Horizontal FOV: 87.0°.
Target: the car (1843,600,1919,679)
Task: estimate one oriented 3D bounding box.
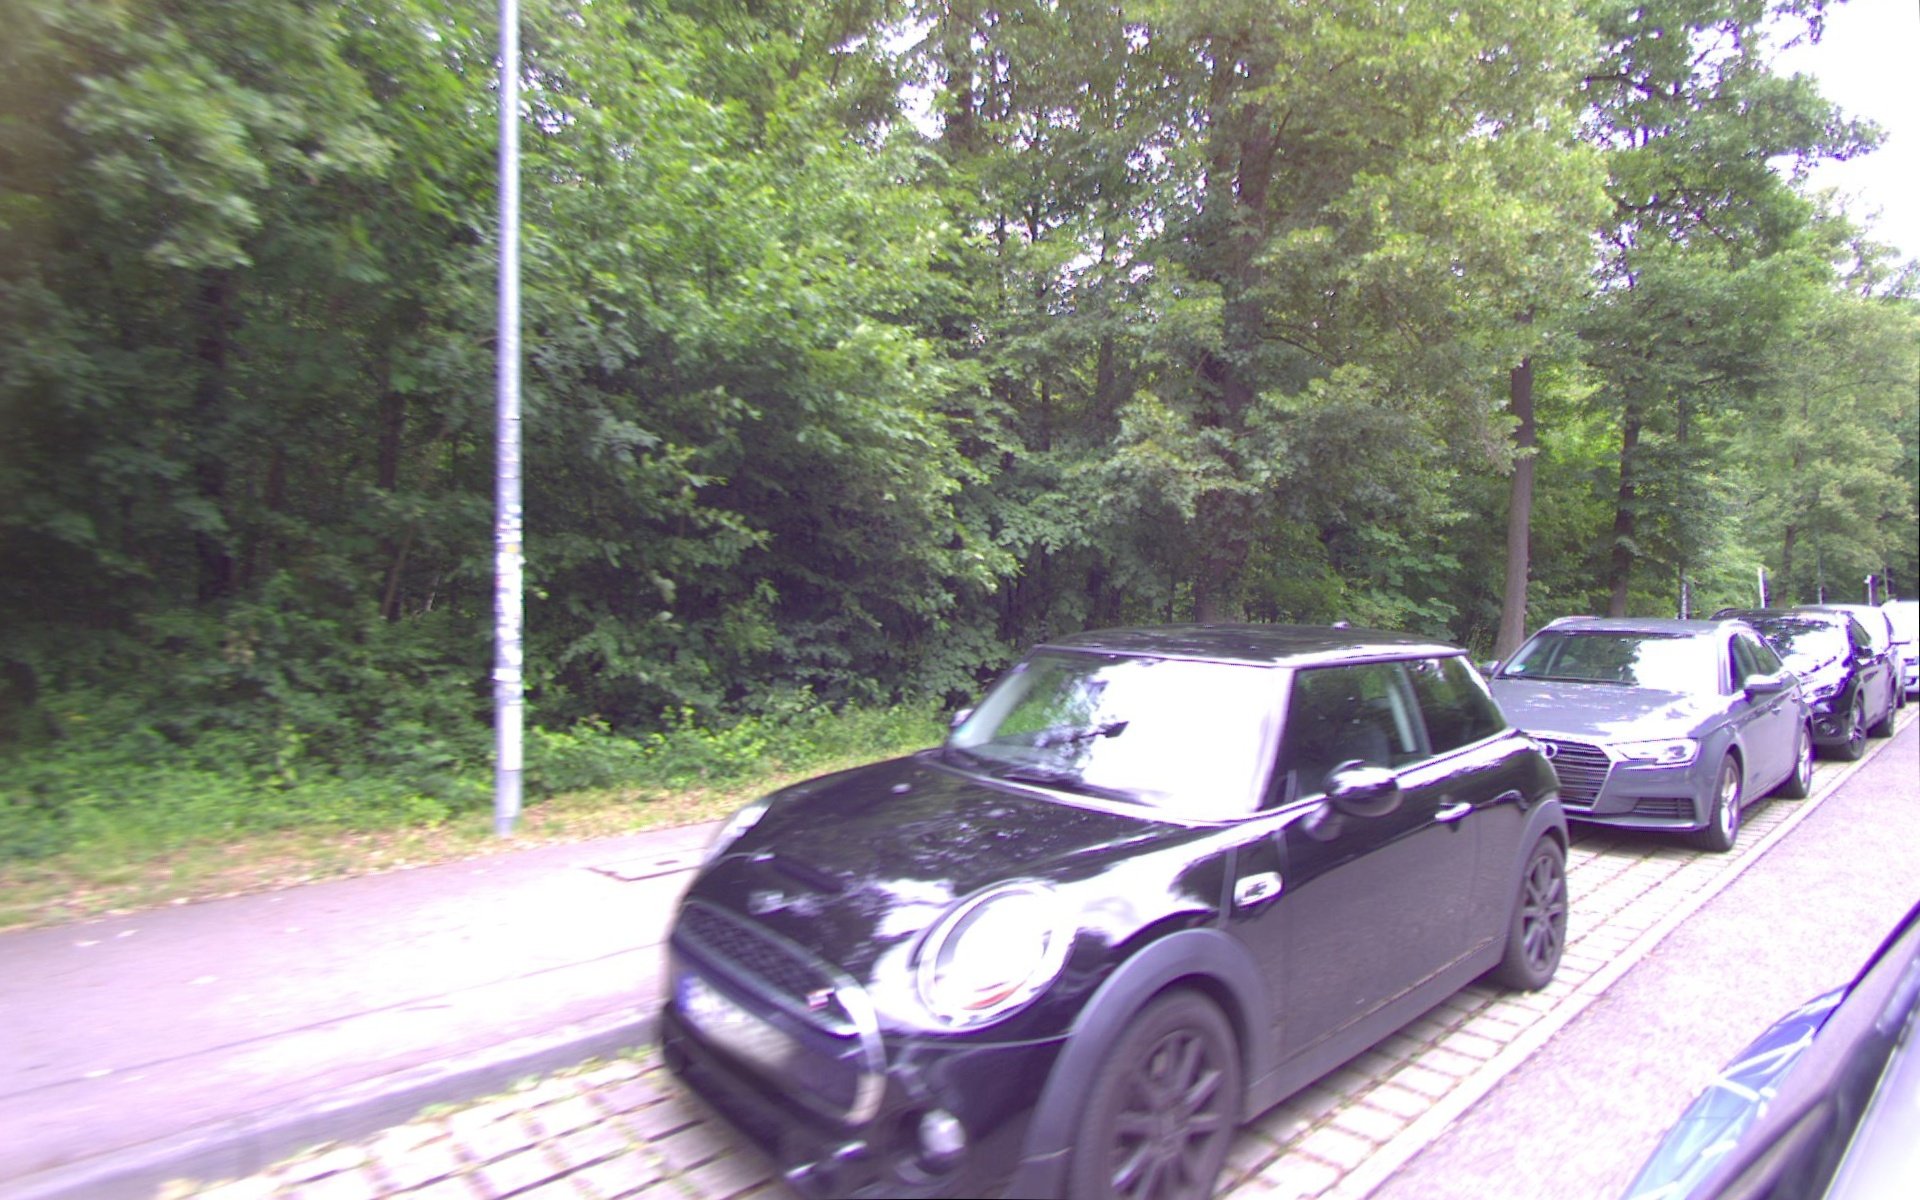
[{"bbox_3d":[19.641,0.747,20.902,4.528,1.493,1.737,0,0,-44],"label":"car"}]

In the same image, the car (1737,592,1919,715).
[{"bbox_3d":[13.007,0.689,15.040,3.941,1.588,1.737,0,0,-44],"label":"car"}]

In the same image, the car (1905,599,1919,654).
[{"bbox_3d":[28.535,0.734,29.105,4.690,1.498,1.737,0,0,-44],"label":"car"}]

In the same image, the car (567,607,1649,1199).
[{"bbox_3d":[1.009,0.762,3.932,4.424,1.450,1.739,0,0,-42],"label":"car"}]

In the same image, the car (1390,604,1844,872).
[{"bbox_3d":[5.139,0.761,7.644,4.423,1.450,1.739,0,0,-41],"label":"car"}]

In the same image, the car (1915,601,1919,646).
[{"bbox_3d":[32.504,0.753,33.016,4.354,1.425,1.737,0,0,-44],"label":"car"}]

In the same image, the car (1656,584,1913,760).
[{"bbox_3d":[9.412,0.665,11.421,4.309,1.609,1.737,0,0,-44],"label":"car"}]

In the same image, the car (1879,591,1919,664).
[{"bbox_3d":[23.998,0.636,24.895,4.988,1.664,1.737,0,0,-44],"label":"car"}]

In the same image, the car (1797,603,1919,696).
[{"bbox_3d":[16.095,0.780,17.731,4.085,1.443,1.737,0,0,-44],"label":"car"}]
